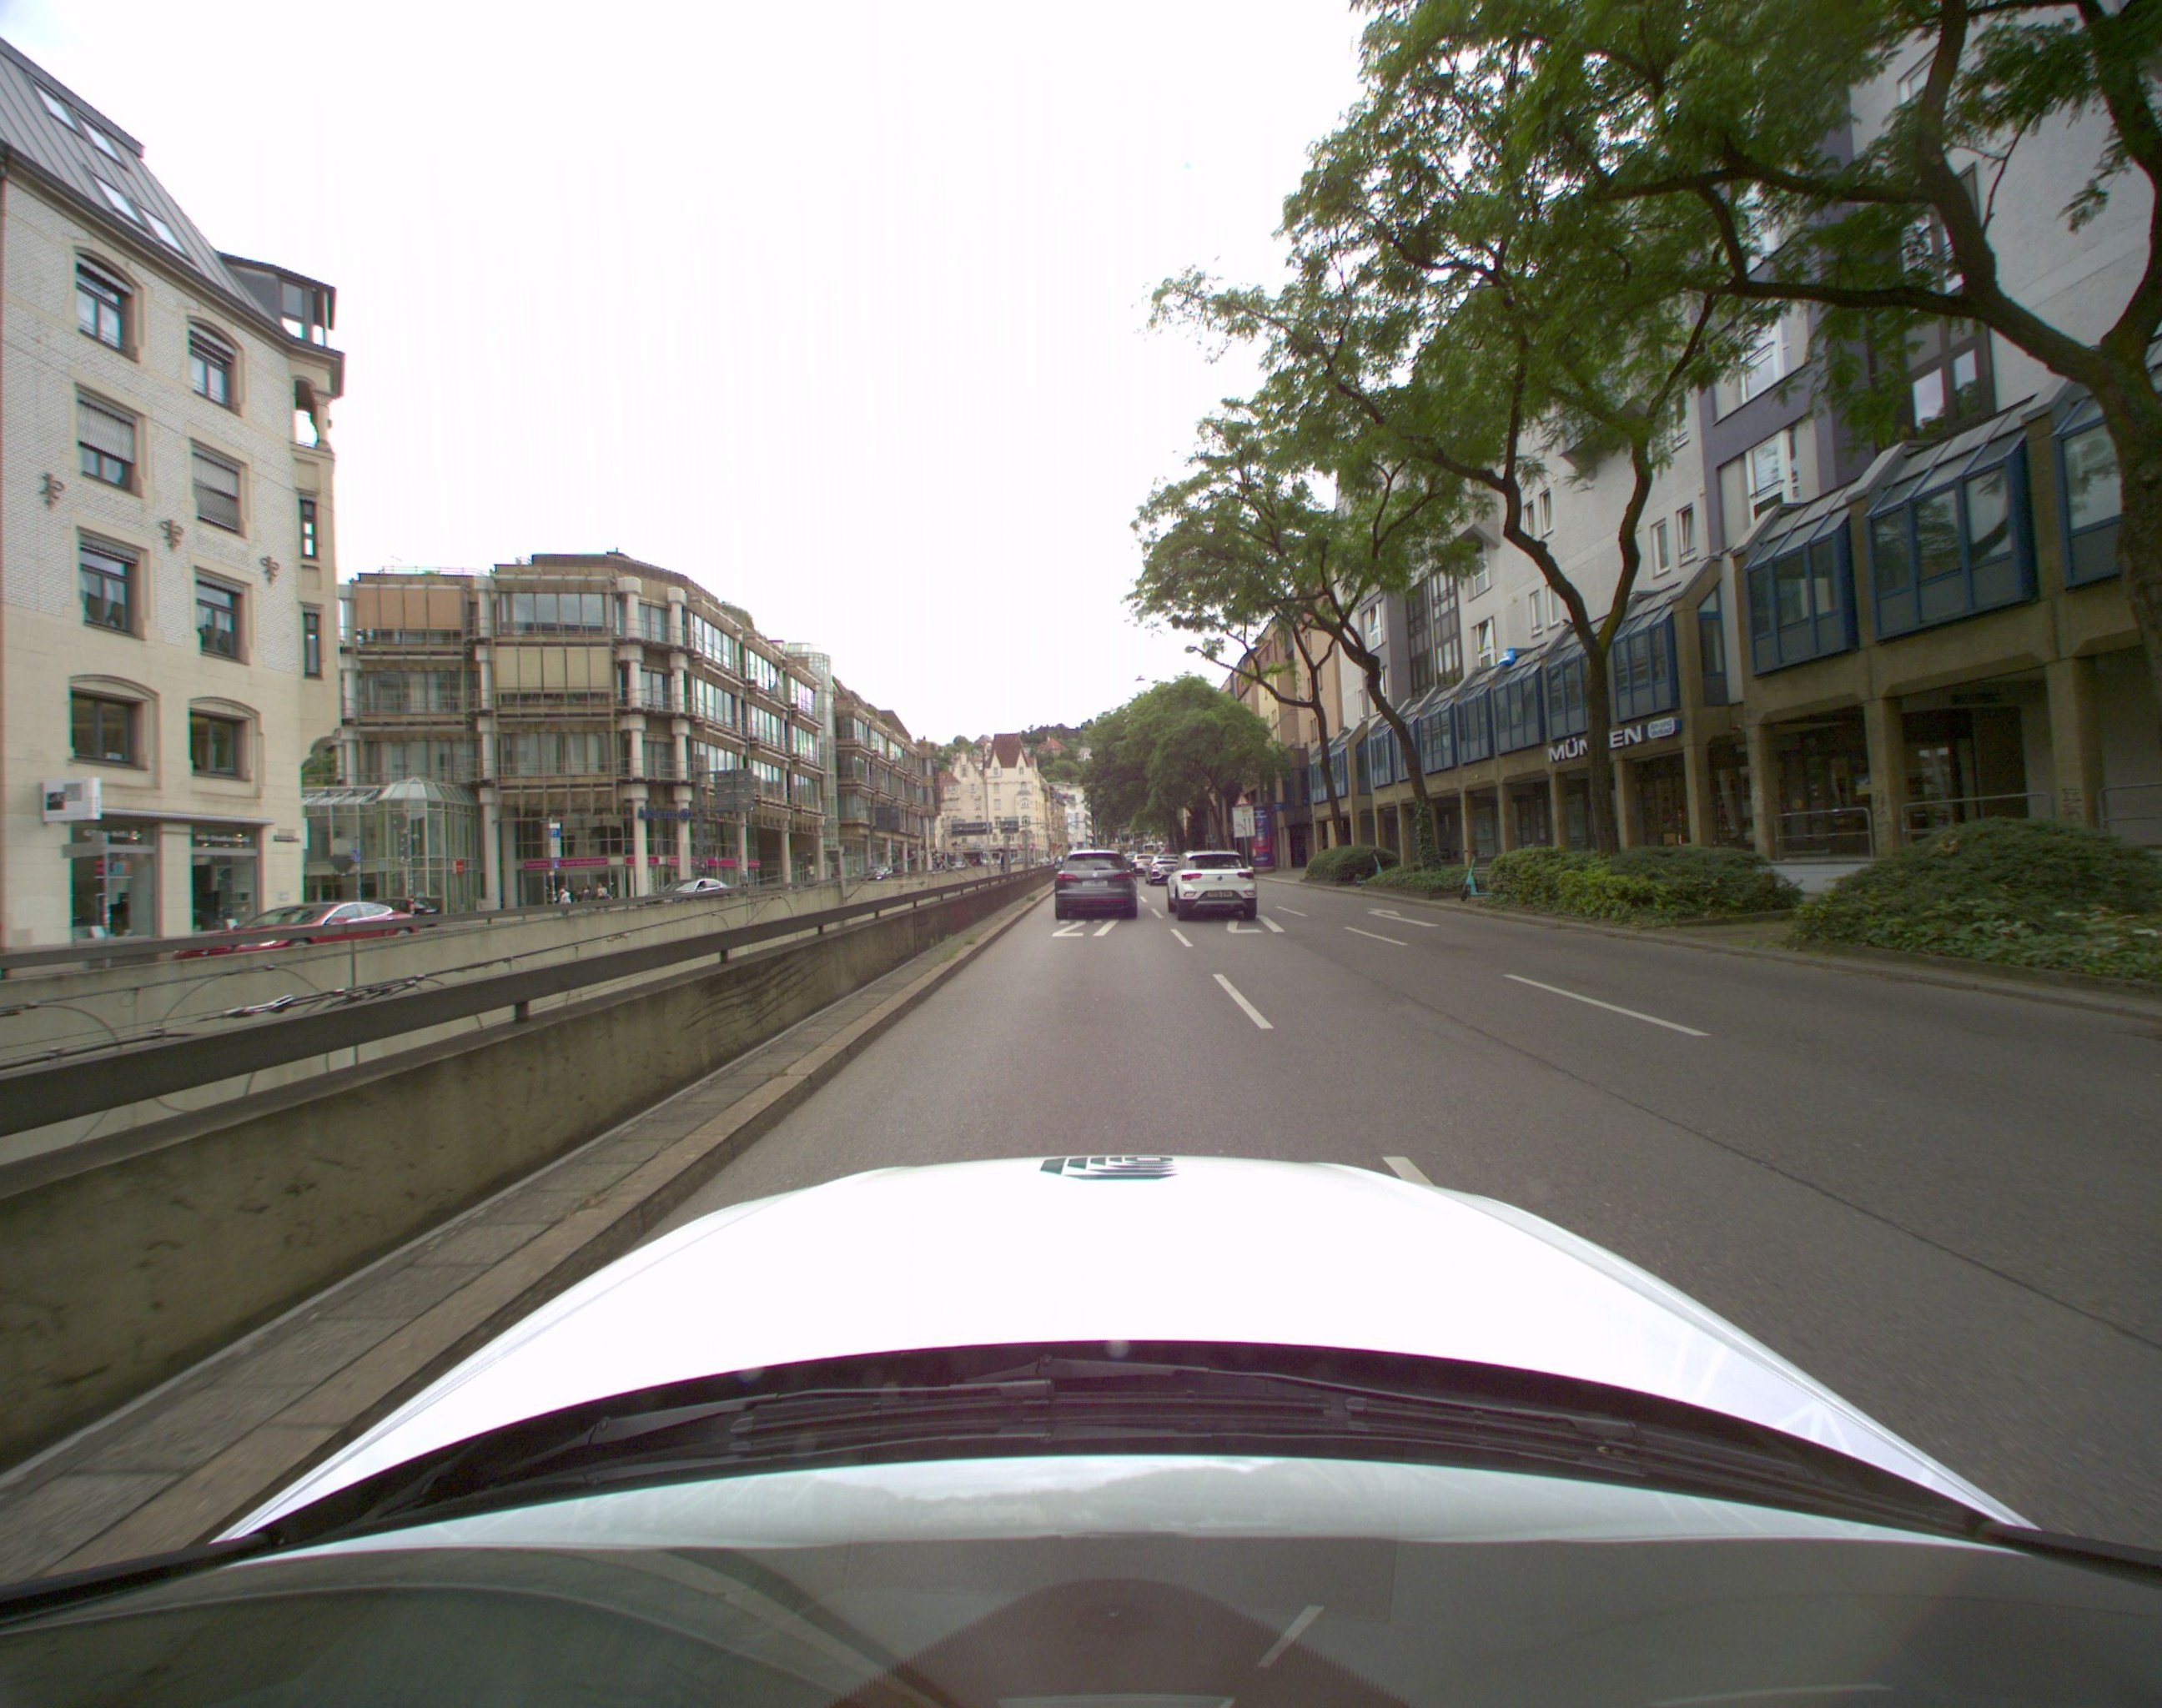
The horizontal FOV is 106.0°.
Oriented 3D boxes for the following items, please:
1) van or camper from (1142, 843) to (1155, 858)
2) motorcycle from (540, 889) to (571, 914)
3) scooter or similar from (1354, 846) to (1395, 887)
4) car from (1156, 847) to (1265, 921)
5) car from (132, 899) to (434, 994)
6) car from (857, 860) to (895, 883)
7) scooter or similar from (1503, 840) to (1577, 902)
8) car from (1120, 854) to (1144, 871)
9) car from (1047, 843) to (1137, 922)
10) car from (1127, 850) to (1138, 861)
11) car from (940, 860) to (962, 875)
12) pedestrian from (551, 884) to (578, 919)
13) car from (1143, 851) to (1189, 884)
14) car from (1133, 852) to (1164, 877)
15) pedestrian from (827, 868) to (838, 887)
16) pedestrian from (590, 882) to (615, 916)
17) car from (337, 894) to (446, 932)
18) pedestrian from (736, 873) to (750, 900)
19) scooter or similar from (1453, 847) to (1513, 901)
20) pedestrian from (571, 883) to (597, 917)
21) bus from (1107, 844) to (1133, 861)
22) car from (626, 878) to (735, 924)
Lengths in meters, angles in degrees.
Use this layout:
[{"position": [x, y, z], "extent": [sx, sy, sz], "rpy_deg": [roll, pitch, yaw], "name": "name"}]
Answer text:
[{"position": [15.190, -0.805, 182.575], "extent": [2.614, 3.178, 5.813], "rpy_deg": [-3, 0, 6], "name": "van or camper"}, {"position": [-30.533, 2.746, 47.337], "extent": [0.792, 1.257, 1.931], "rpy_deg": [-3, 0, -11], "name": "motorcycle"}, {"position": [9.840, 0.424, 27.327], "extent": [1.154, 1.285, 0.427], "rpy_deg": [-5, -1, 10], "name": "scooter or similar"}, {"position": [2.955, 0.636, 19.381], "extent": [1.793, 1.545, 3.932], "rpy_deg": [-1, 0, -2], "name": "car"}, {"position": [-17.351, 1.915, 18.186], "extent": [1.989, 1.464, 4.881], "rpy_deg": [-3, 0, -2], "name": "car"}, {"position": [-17.472, 1.440, 69.553], "extent": [1.986, 1.767, 4.281], "rpy_deg": [-3, 0, 1], "name": "car"}, {"position": [10.326, 0.377, 18.346], "extent": [1.191, 1.268, 0.725], "rpy_deg": [-4, 0, 1], "name": "scooter or similar"}, {"position": [4.727, 0.789, 76.568], "extent": [1.827, 1.363, 3.764], "rpy_deg": [-4, 0, -2], "name": "car"}, {"position": [0.221, 0.625, 20.517], "extent": [1.964, 1.695, 4.222], "rpy_deg": [-3, 0, -1], "name": "car"}, {"position": [9.363, 0.260, 149.429], "extent": [1.825, 1.874, 4.874], "rpy_deg": [-4, 0, 3], "name": "car"}, {"position": [-16.770, 1.773, 105.596], "extent": [1.986, 1.767, 4.281], "rpy_deg": [-3, 0, 1], "name": "car"}, {"position": [-24.403, 2.239, 38.489], "extent": [0.699, 1.544, 0.845], "rpy_deg": [-3, 0, -7], "name": "pedestrian"}, {"position": [3.980, 0.658, 38.703], "extent": [1.827, 1.432, 4.148], "rpy_deg": [-2, -2, 1], "name": "car"}, {"position": [4.453, 0.689, 54.509], "extent": [1.825, 1.517, 3.769], "rpy_deg": [-4, 0, 2], "name": "car"}, {"position": [-23.985, 2.240, 78.628], "extent": [0.773, 1.824, 0.711], "rpy_deg": [-3, 0, -9], "name": "pedestrian"}, {"position": [-22.776, 2.142, 38.771], "extent": [0.699, 1.544, 0.845], "rpy_deg": [-3, 0, -7], "name": "pedestrian"}, {"position": [-31.244, 2.654, 36.967], "extent": [3.434, 1.436, 1.650], "rpy_deg": [-3, 0, 0], "name": "car"}, {"position": [-22.689, 2.178, 54.655], "extent": [0.530, 1.793, 0.695], "rpy_deg": [-3, 0, 2], "name": "pedestrian"}, {"position": [9.422, 0.458, 19.111], "extent": [1.100, 1.181, 0.429], "rpy_deg": [-4, 0, 11], "name": "scooter or similar"}, {"position": [-23.571, 2.188, 38.621], "extent": [0.699, 1.544, 0.845], "rpy_deg": [-3, 0, -7], "name": "pedestrian"}, {"position": [8.819, -0.334, 180.689], "extent": [3.827, 3.532, 17.289], "rpy_deg": [-3, 0, 9], "name": "bus"}, {"position": [-17.202, 1.962, 35.301], "extent": [1.985, 1.585, 4.892], "rpy_deg": [-3, 0, 4], "name": "car"}]
